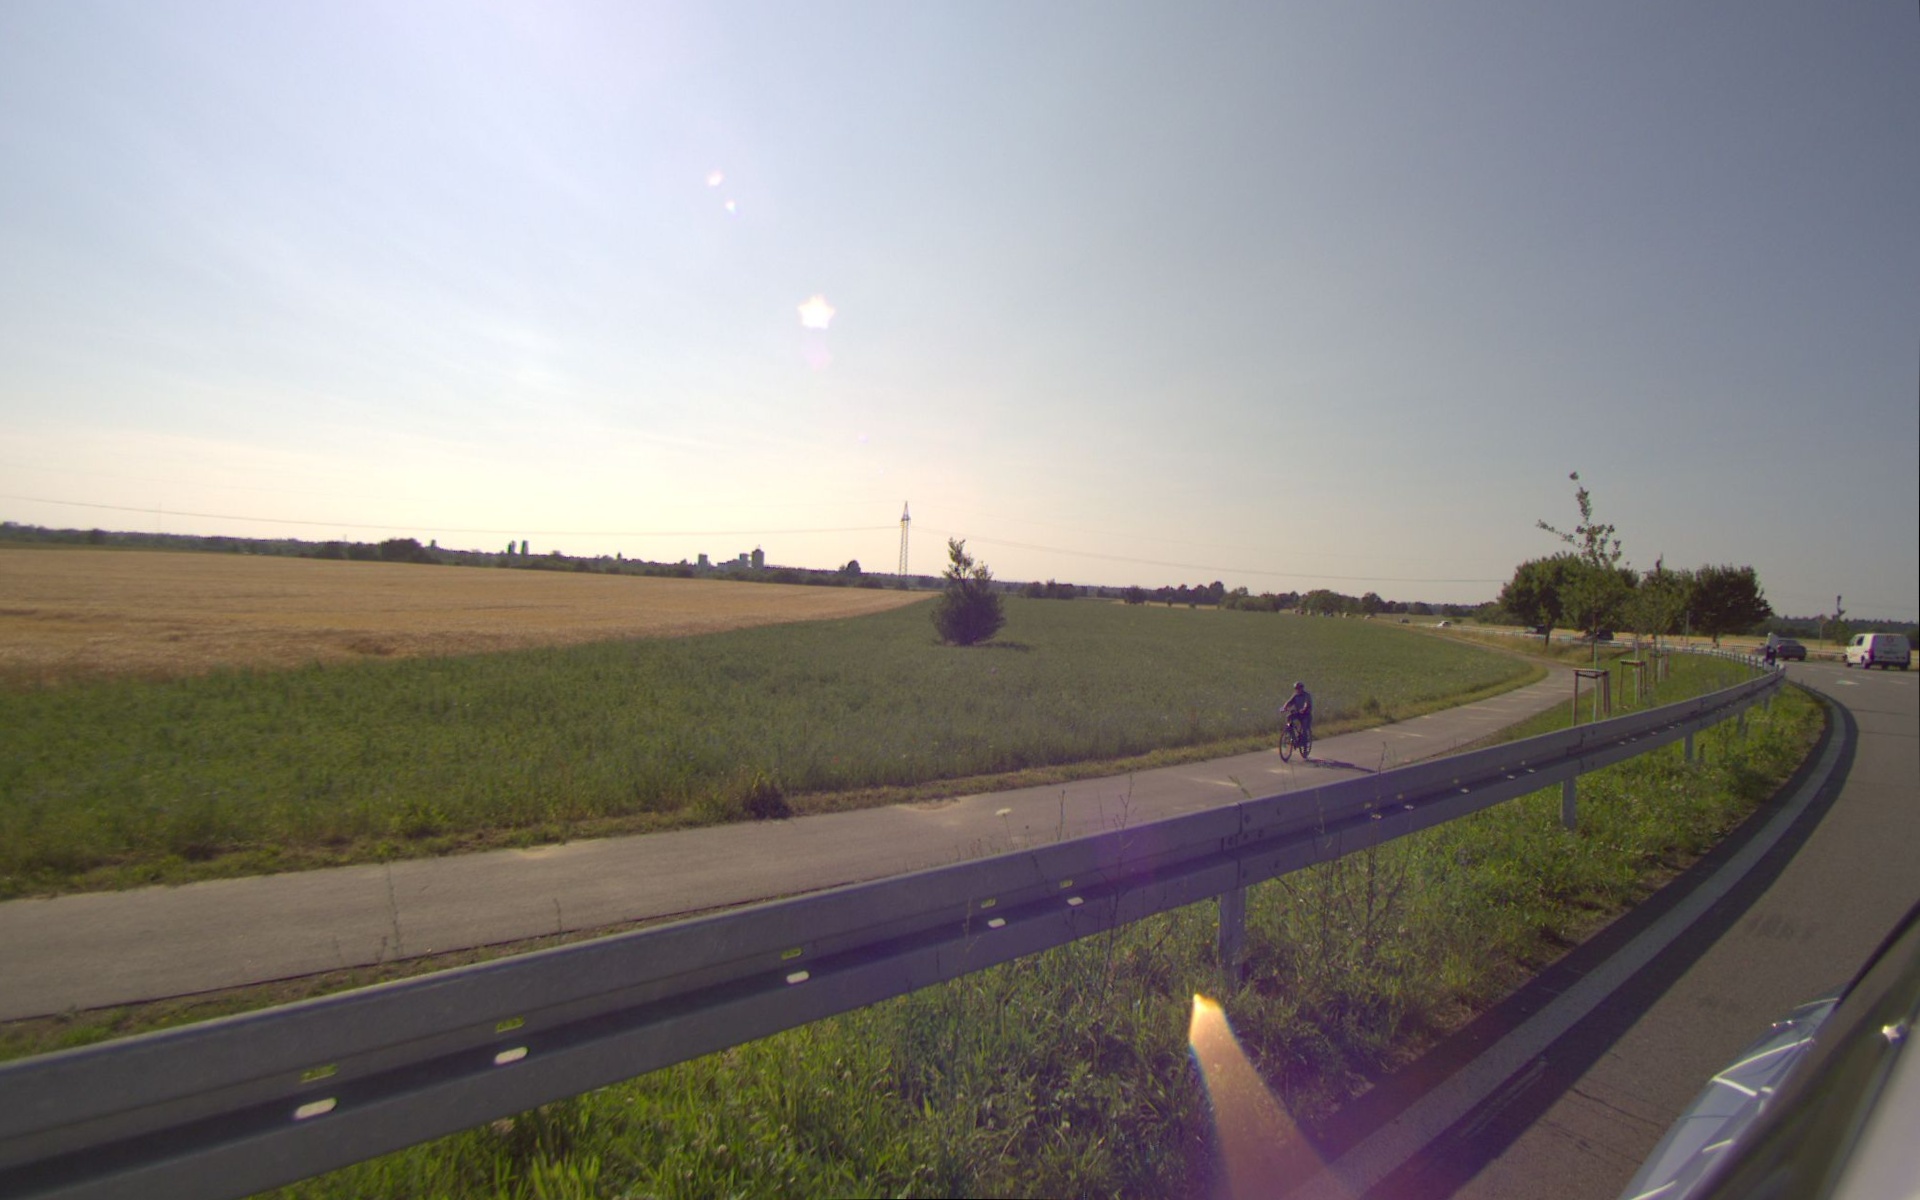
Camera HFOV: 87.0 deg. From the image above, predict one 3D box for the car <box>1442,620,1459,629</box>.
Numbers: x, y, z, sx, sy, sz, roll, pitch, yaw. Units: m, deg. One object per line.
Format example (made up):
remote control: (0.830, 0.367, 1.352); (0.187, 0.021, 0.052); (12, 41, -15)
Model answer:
car: (86.496, 4.267, 178.517); (1.831, 1.467, 4.136); (1, 0, 13)

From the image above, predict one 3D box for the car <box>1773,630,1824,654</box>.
car: (56.712, 2.879, 68.532); (1.784, 1.467, 4.655); (1, -3, 29)

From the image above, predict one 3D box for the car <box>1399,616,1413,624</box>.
car: (93.678, 4.133, 212.545); (1.814, 1.563, 4.232); (0, 1, 11)

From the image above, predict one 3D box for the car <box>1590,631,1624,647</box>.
car: (70.442, 4.240, 110.245); (1.974, 1.613, 4.833); (2, -1, 18)

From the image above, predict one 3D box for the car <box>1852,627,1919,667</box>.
car: (51.587, 2.625, 56.045); (2.102, 2.040, 5.101); (1, -3, 28)

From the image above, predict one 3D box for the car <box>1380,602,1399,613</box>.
car: (82.069, 1.476, 193.298); (2.780, 2.039, 6.066); (1, 0, 18)

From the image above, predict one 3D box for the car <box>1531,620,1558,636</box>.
car: (75.329, 3.625, 130.525); (1.863, 1.820, 5.064); (0, 1, 17)
